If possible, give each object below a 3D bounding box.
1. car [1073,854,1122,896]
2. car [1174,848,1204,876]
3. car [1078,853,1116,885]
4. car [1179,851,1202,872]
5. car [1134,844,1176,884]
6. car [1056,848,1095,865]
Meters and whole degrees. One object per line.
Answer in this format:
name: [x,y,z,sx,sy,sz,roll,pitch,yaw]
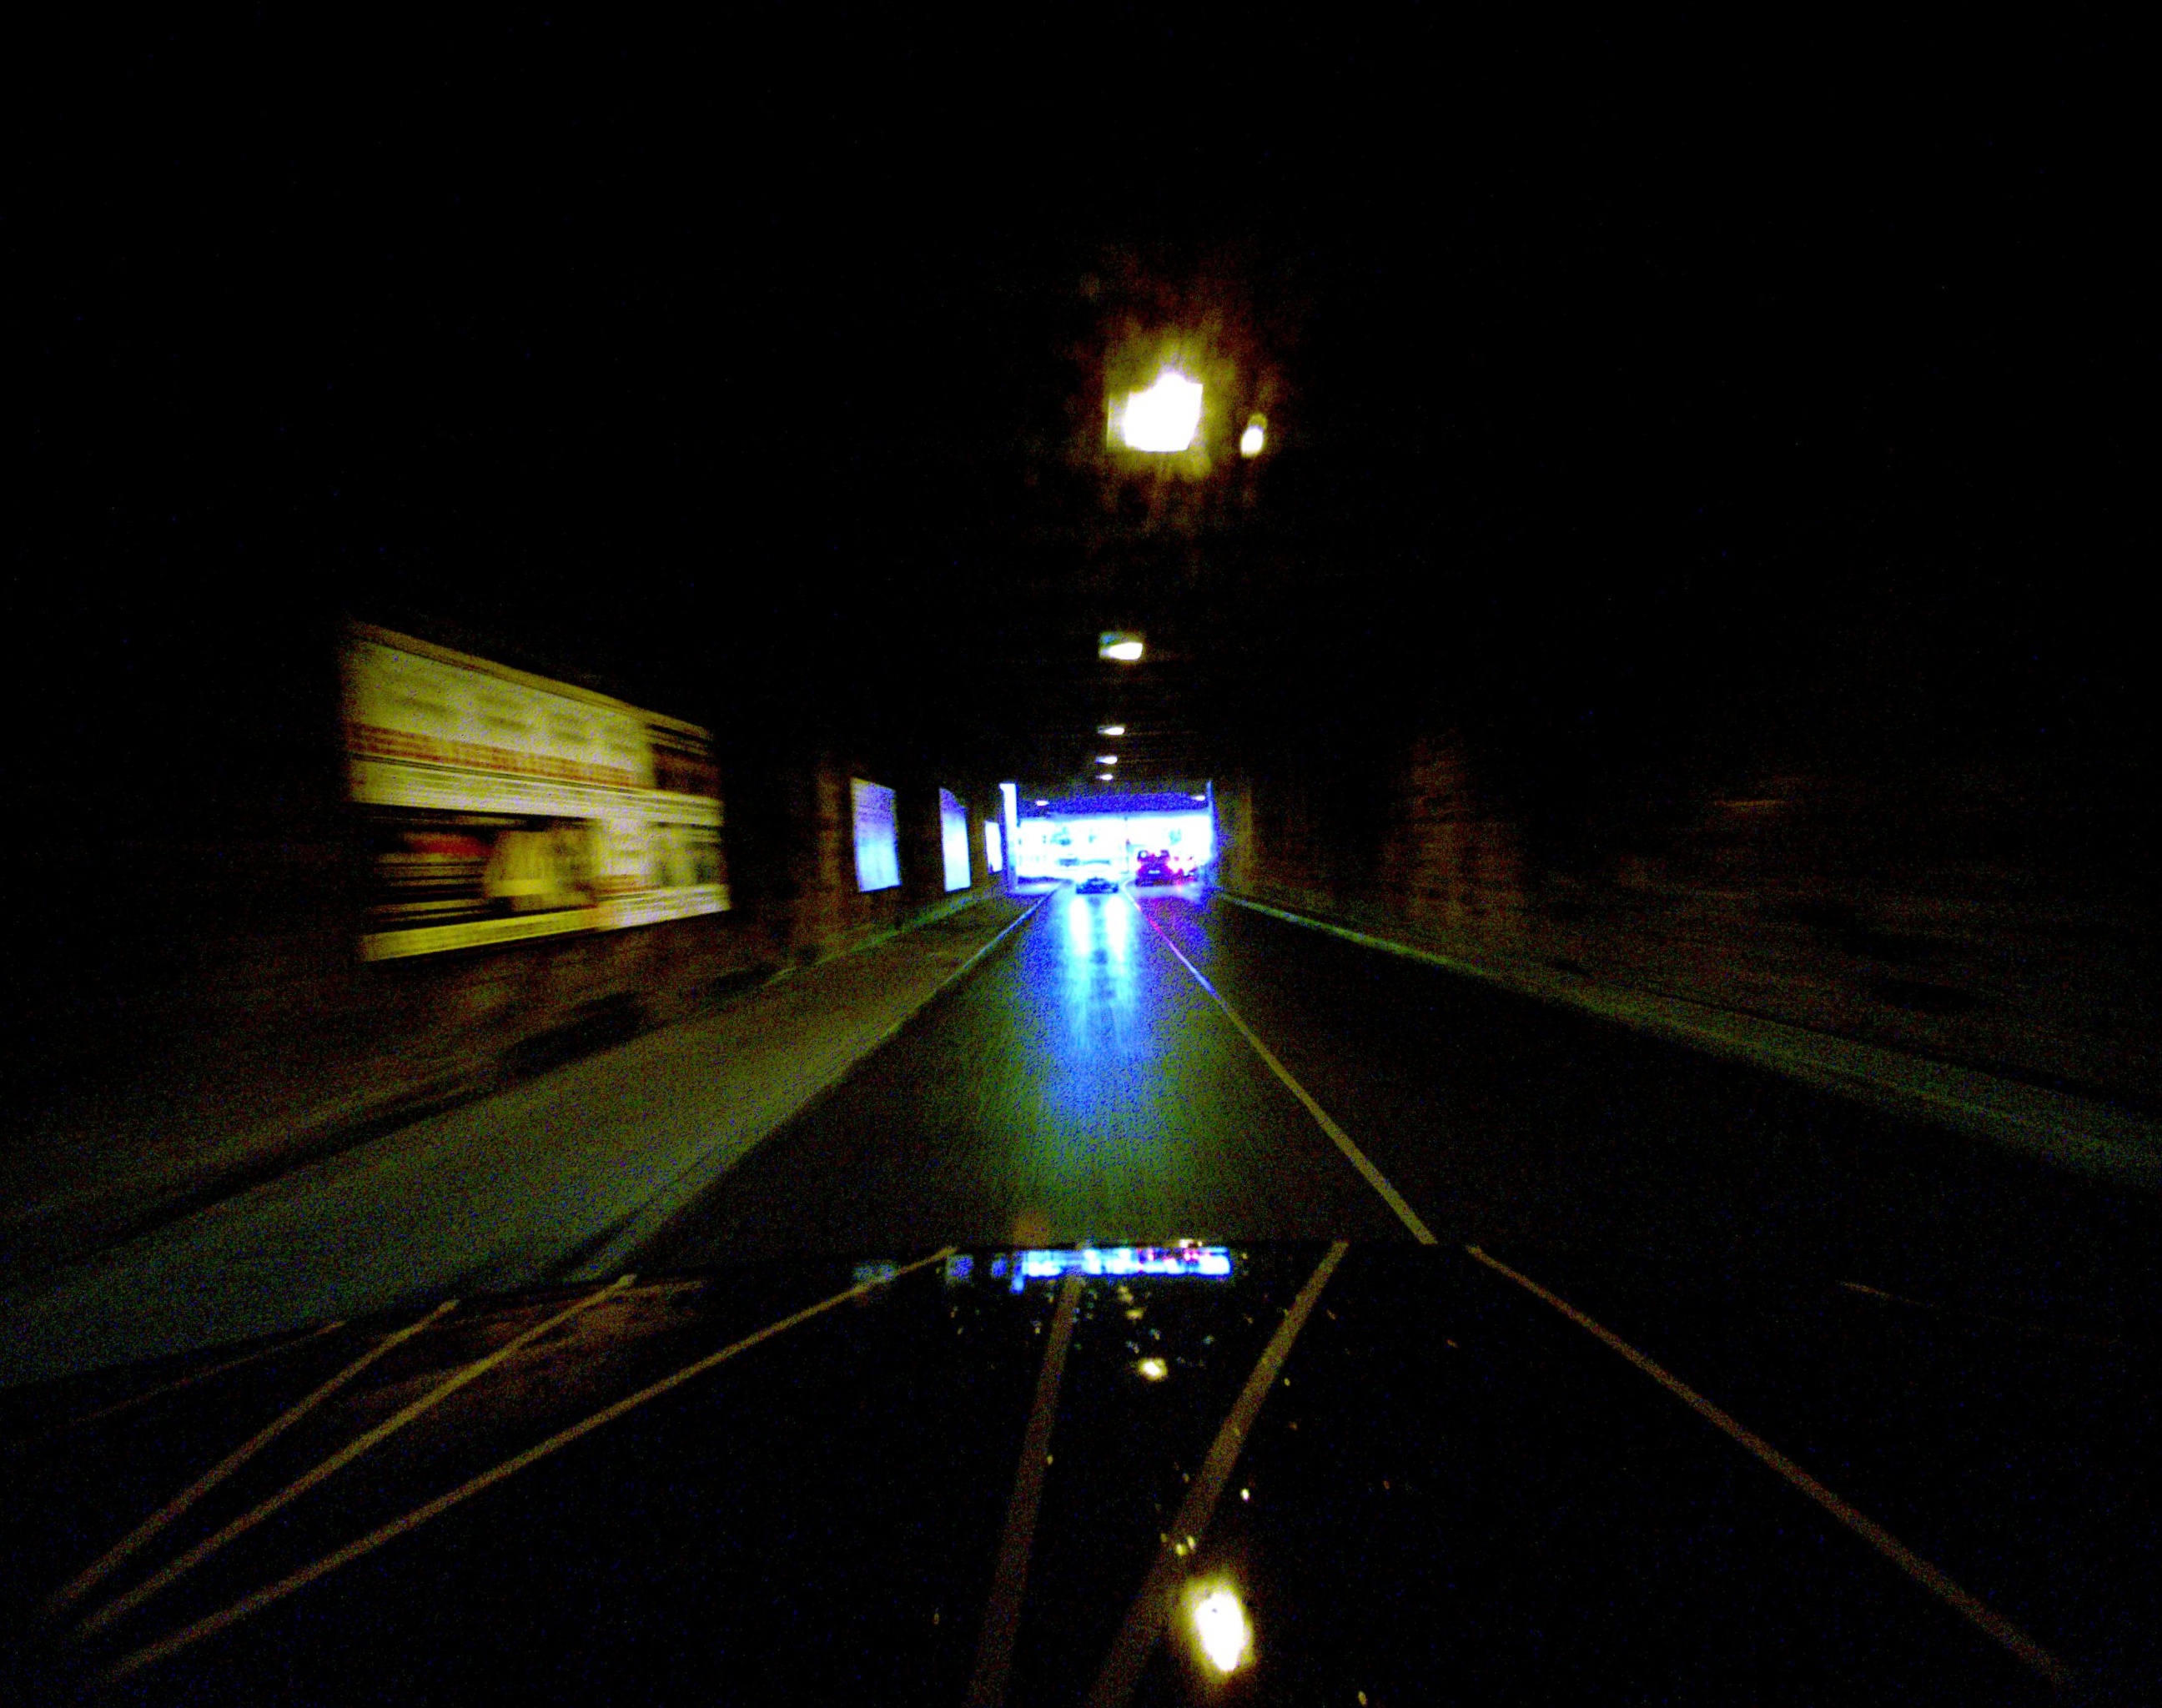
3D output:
car: [0.724,0.805,31.814,1.810,1.509,4.052,-3,1,2]
car: [6.358,0.441,45.078,1.593,1.533,4.075,-2,1,7]
car: [0.796,0.728,38.473,1.811,1.509,4.052,-1,0,0]
car: [7.254,0.469,50.479,1.277,1.308,3.321,-2,1,6]
car: [3.644,0.463,37.644,1.912,1.791,4.001,-2,1,5]
car: [-0.489,0.222,69.345,3.248,1.449,1.280,-2,1,29]
